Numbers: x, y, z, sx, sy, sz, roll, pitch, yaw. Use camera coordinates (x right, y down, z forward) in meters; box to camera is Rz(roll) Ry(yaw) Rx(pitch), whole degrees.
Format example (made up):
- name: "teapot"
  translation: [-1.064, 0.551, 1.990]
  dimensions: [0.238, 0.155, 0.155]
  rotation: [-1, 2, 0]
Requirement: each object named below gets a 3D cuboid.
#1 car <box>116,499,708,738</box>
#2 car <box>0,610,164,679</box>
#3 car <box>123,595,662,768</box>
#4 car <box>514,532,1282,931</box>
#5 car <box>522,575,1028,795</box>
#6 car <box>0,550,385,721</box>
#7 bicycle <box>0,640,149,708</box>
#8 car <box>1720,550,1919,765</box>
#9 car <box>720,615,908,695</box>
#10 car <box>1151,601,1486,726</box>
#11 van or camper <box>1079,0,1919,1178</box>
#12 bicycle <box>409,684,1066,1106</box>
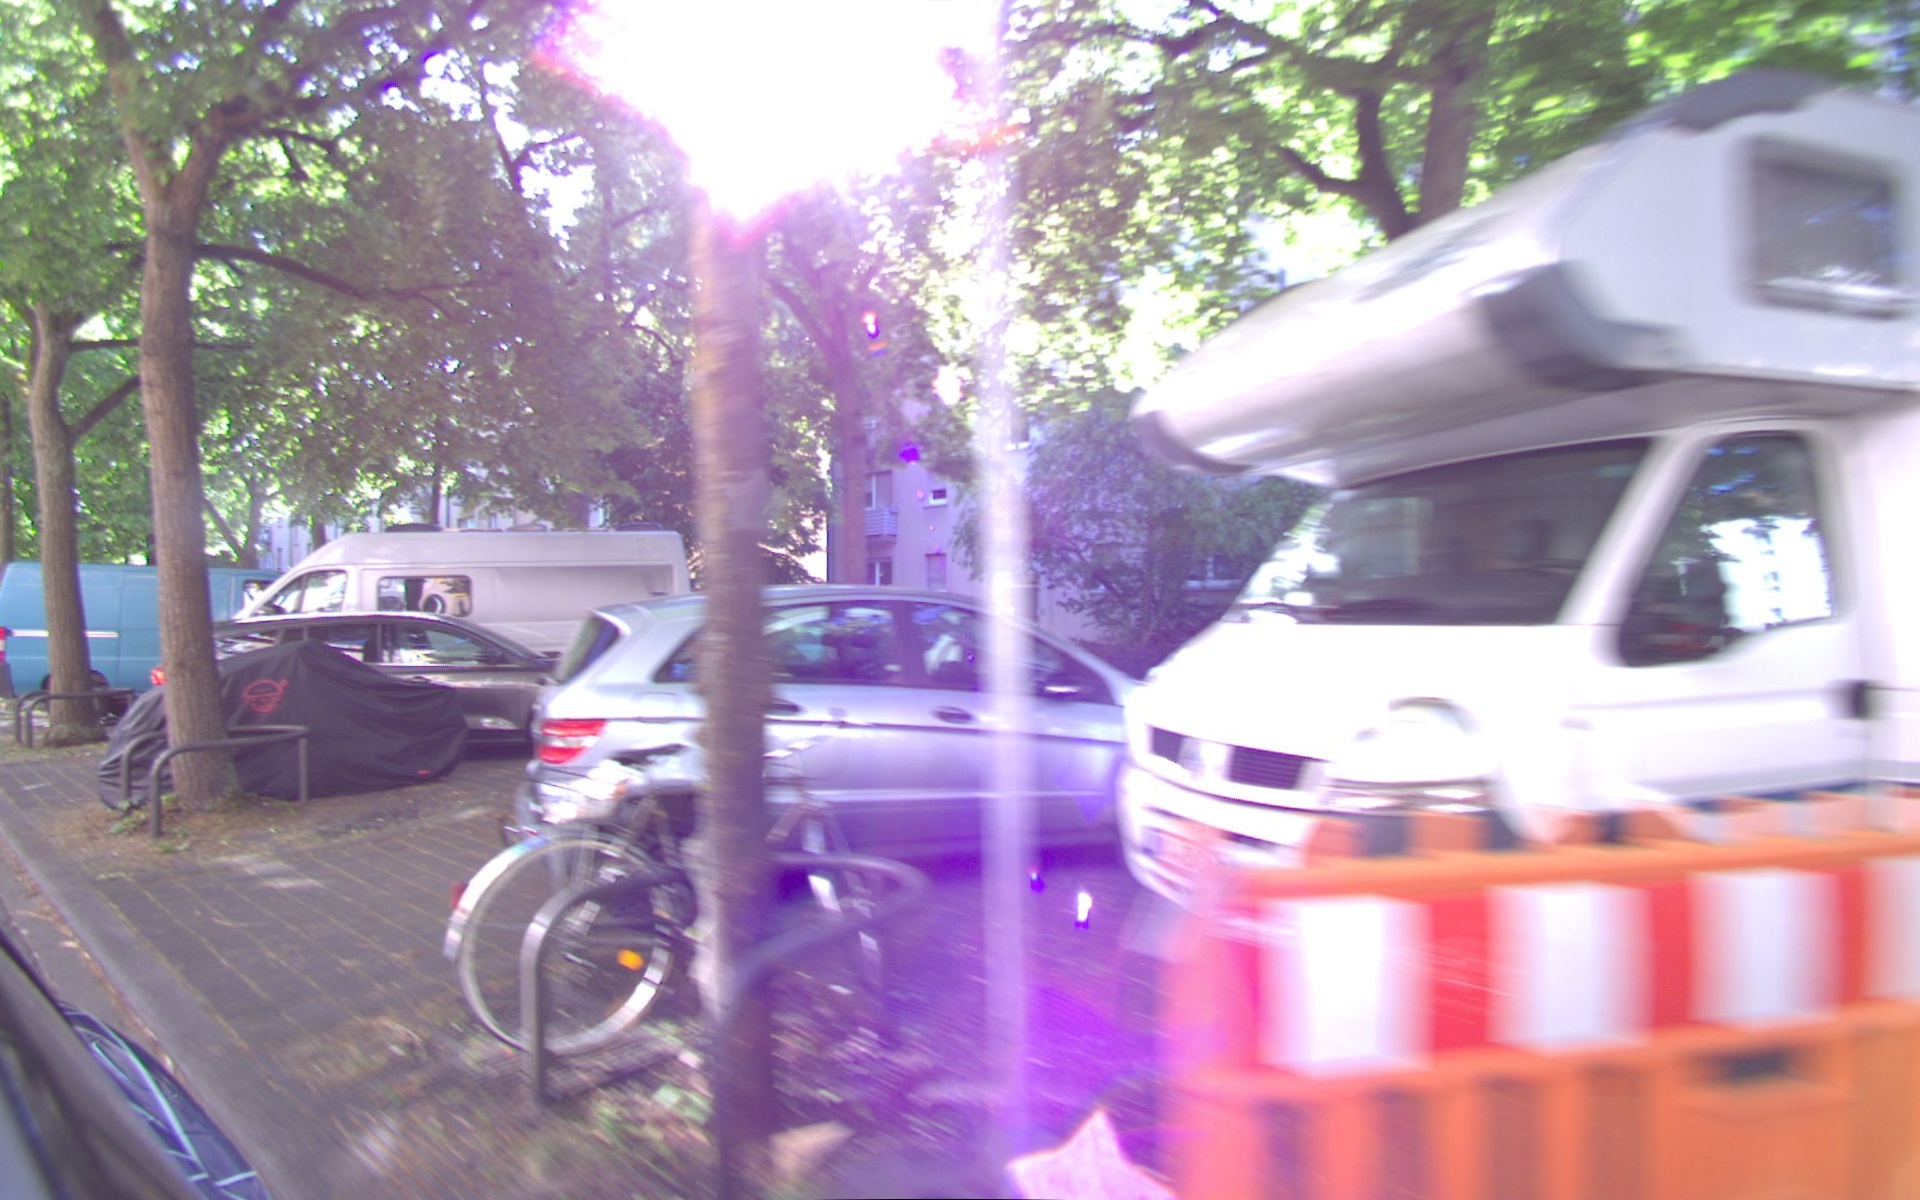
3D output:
- name: "car"
  translation: [-6.441, 0.234, 12.792]
  dimensions: [6.095, 2.530, 2.145]
  rotation: [0, -2, -21]
- name: "car"
  translation: [-20.421, 0.981, 23.027]
  dimensions: [3.218, 1.427, 1.753]
  rotation: [-1, 0, -17]
- name: "car"
  translation: [-5.380, 0.735, 10.261]
  dimensions: [4.447, 1.494, 1.743]
  rotation: [0, -1, -19]
- name: "car"
  translation: [-0.362, 0.568, 5.741]
  dimensions: [3.930, 1.629, 1.803]
  rotation: [0, -2, -23]
- name: "car"
  translation: [-1.493, 0.629, 8.475]
  dimensions: [3.761, 1.556, 1.687]
  rotation: [0, -1, -14]
- name: "car"
  translation: [-10.822, 0.483, 14.425]
  dimensions: [4.322, 2.184, 1.776]
  rotation: [0, -2, -21]
- name: "bicycle"
  translation: [-13.962, 1.127, 15.698]
  dimensions: [2.119, 0.977, 0.609]
  rotation: [1, -2, -42]
- name: "car"
  translation: [10.076, 0.526, 9.794]
  dimensions: [4.263, 2.029, 1.604]
  rotation: [-1, 0, 40]
- name: "car"
  translation: [-3.258, 1.136, 22.229]
  dimensions: [3.998, 1.597, 1.973]
  rotation: [-1, -2, 41]
- name: "car"
  translation: [4.938, 0.816, 14.222]
  dimensions: [3.999, 1.497, 1.972]
  rotation: [-1, -2, 42]
- name: "van or camper"
  translation: [3.748, -0.169, 4.444]
  dimensions: [5.929, 3.025, 2.407]
  rotation: [0, -2, -20]
- name: "bicycle"
  translation: [-0.629, 0.868, 3.659]
  dimensions: [2.344, 0.985, 0.502]
  rotation: [0, -1, -39]
